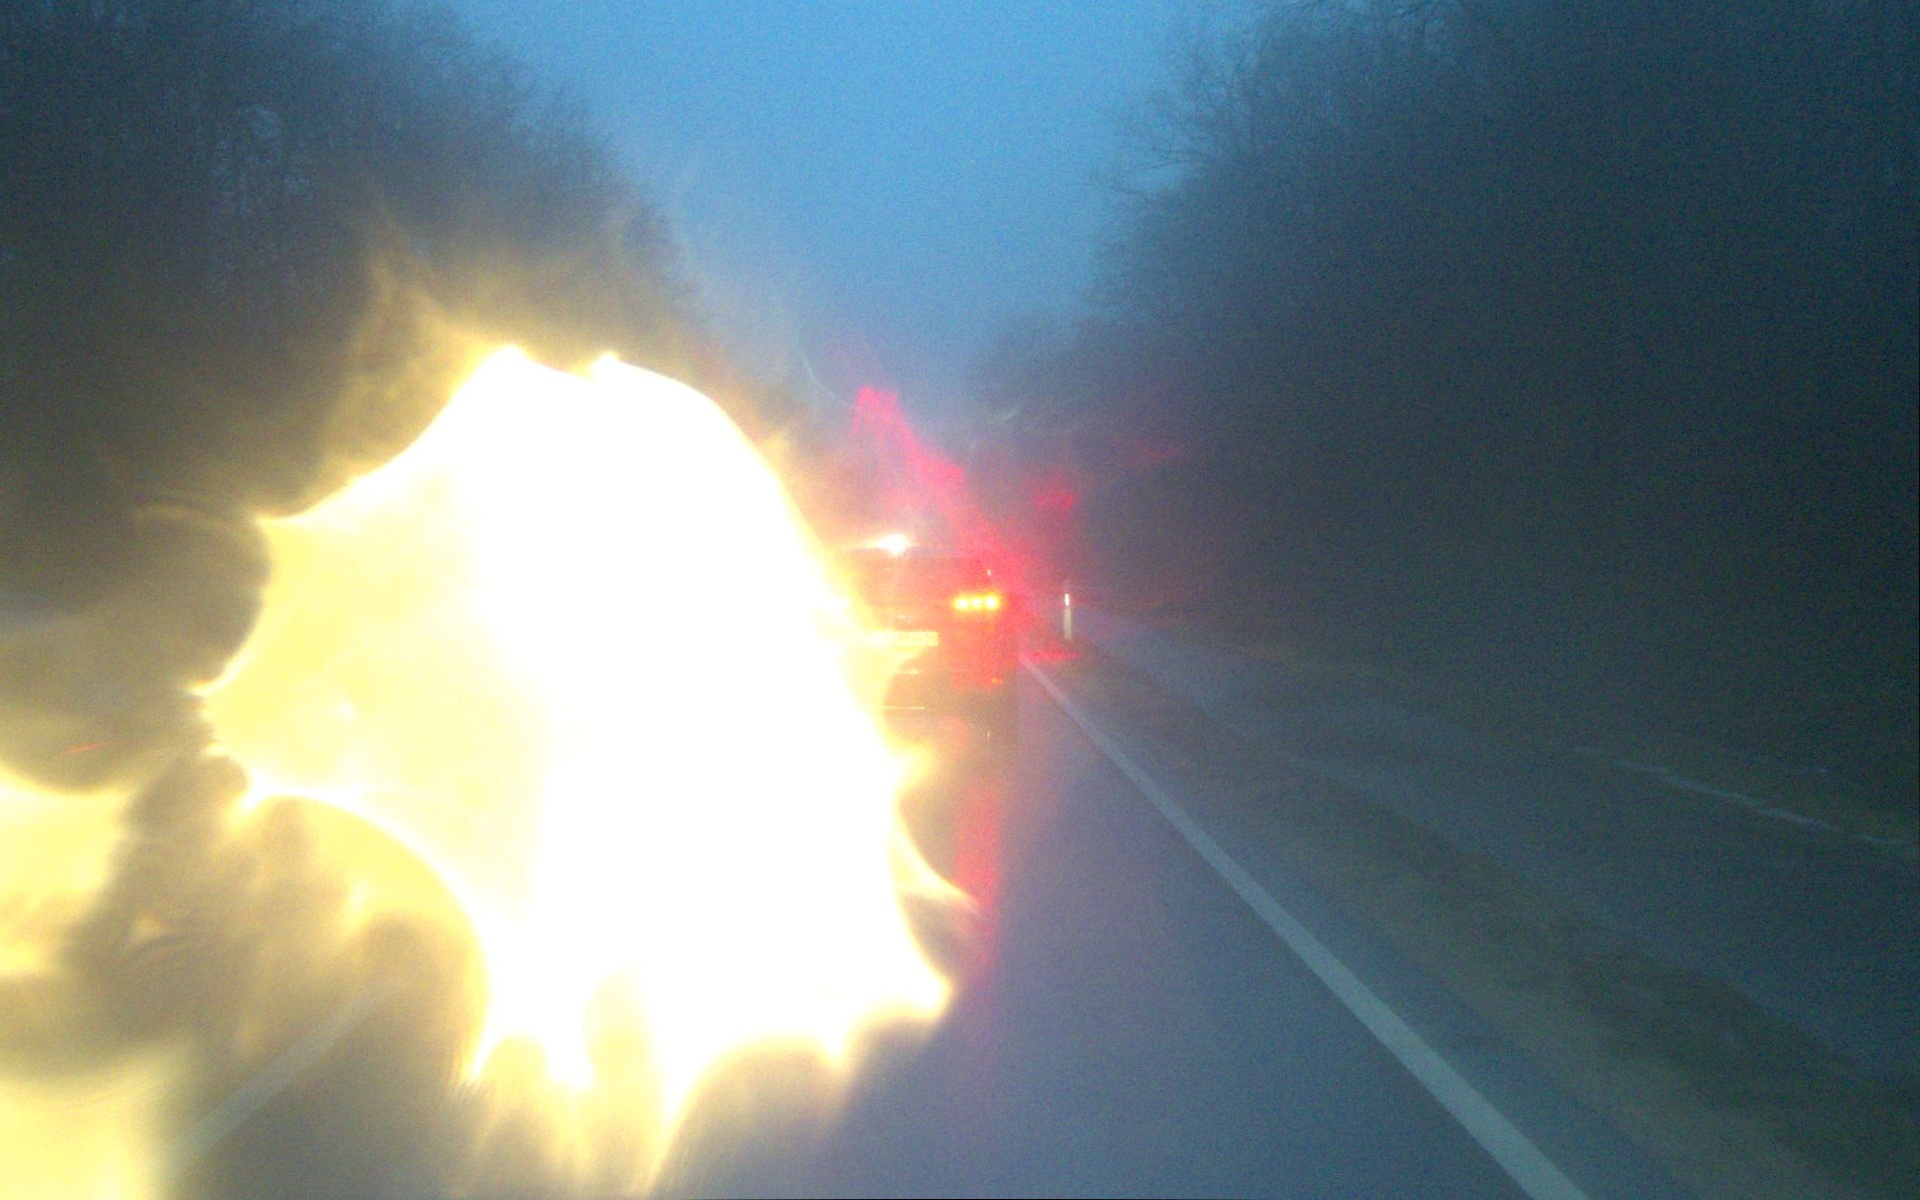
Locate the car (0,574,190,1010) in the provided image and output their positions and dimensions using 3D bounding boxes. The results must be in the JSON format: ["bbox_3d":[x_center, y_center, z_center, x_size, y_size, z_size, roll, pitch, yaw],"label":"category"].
[{"bbox_3d":[-3.951,0.658,12.348,1.513,1.408,3.661,-2,1,0],"label":"car"}]

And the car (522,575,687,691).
[{"bbox_3d":[-4.452,0.383,43.552,1.703,1.358,4.376,-1,0,-1],"label":"car"}]
